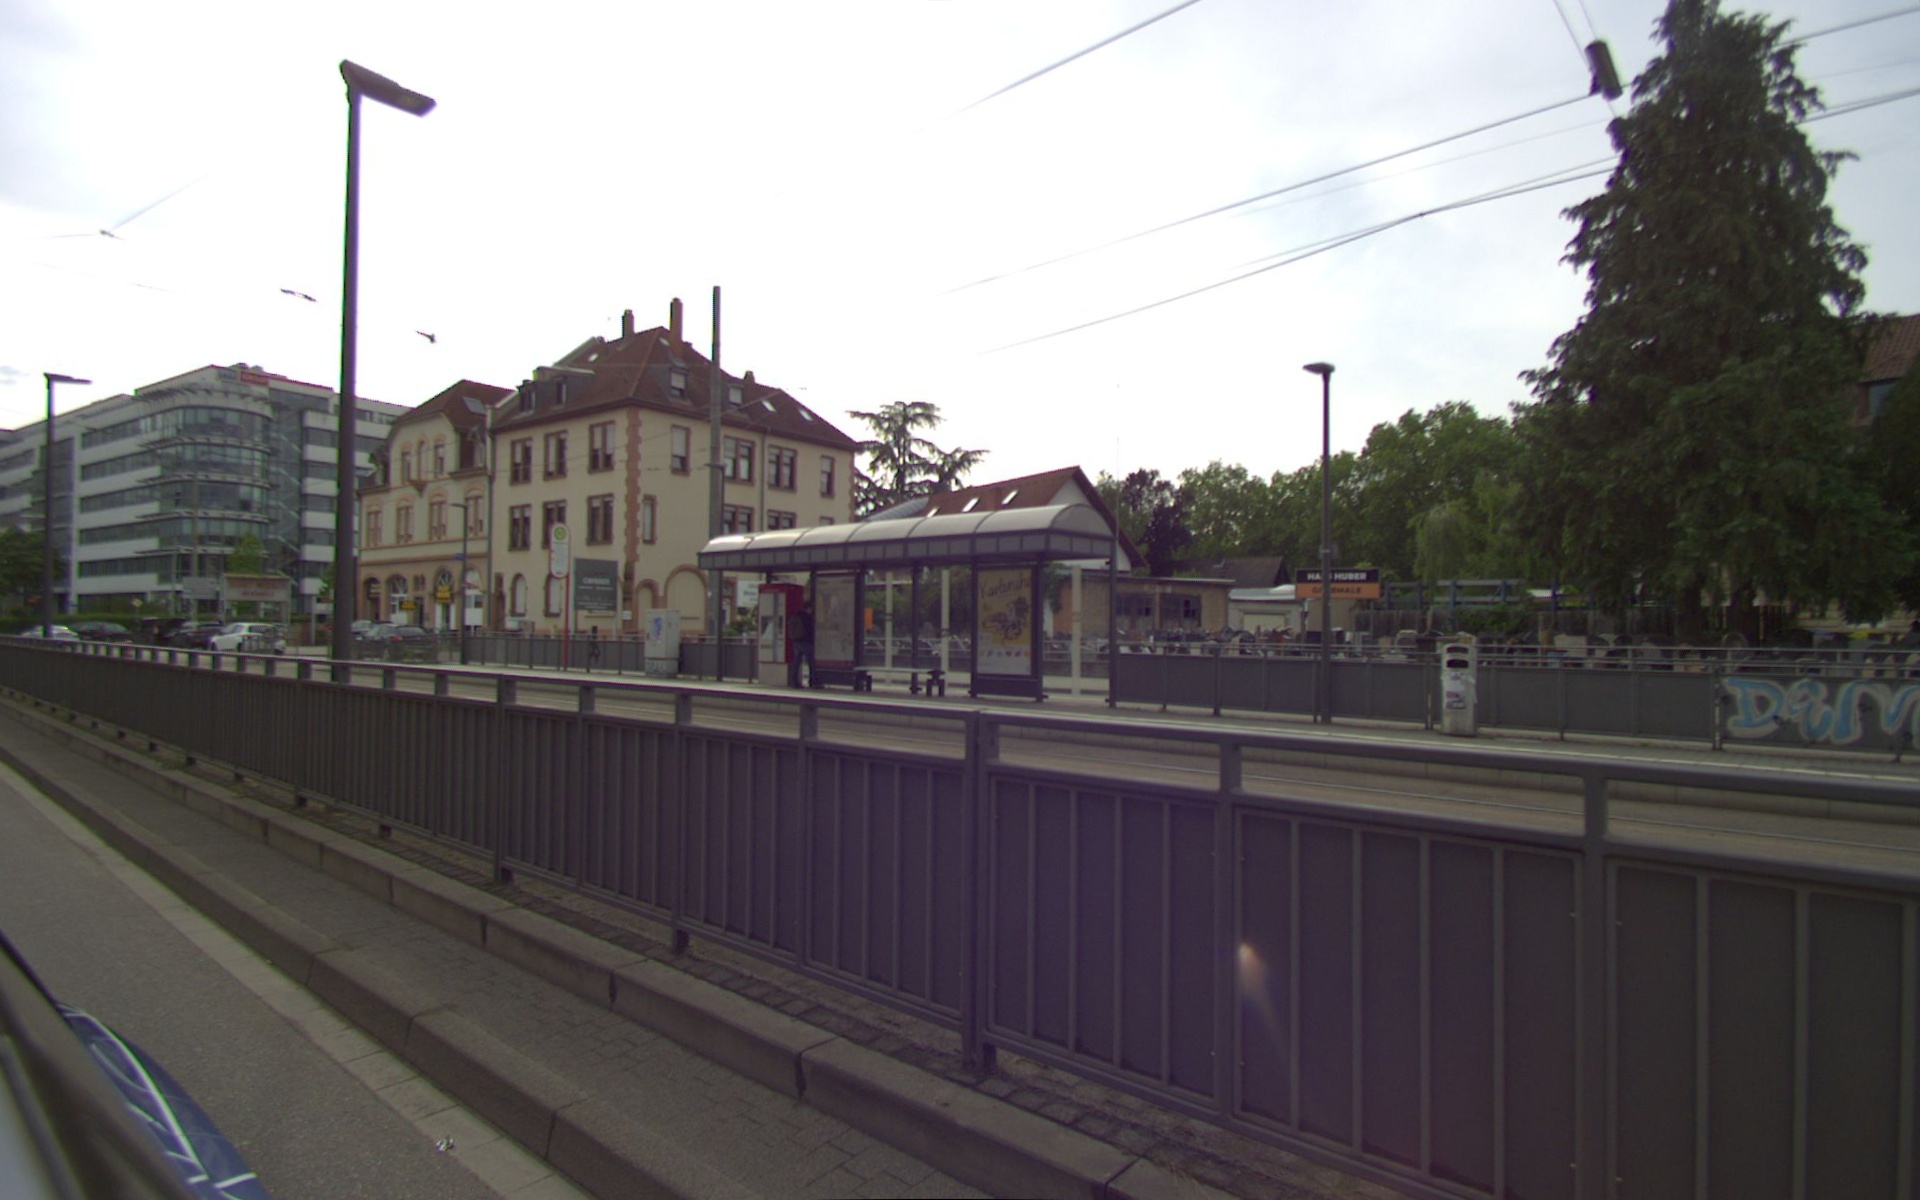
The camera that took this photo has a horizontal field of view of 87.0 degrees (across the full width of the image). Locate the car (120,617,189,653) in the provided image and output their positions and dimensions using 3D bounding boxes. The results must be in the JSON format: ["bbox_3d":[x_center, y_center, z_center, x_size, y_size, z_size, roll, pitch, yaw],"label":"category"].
[{"bbox_3d":[-49.515,2.107,62.153,5.173,2.029,1.969,0,0,36],"label":"car"}]

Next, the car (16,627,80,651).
[{"bbox_3d":[-52.033,2.205,57.716,3.820,1.308,1.737,0,-2,32],"label":"car"}]

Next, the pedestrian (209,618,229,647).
[{"bbox_3d":[-47.419,2.063,64.758,1.058,1.839,0.796,-1,-1,38],"label":"pedestrian"}]

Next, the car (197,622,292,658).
[{"bbox_3d":[-31.804,1.777,44.962,3.983,1.497,1.851,0,-4,29],"label":"car"}]

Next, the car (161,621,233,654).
[{"bbox_3d":[-44.612,2.182,59.163,4.523,1.762,2.020,-2,0,34],"label":"car"}]

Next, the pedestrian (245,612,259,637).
[{"bbox_3d":[-49.960,1.712,71.416,0.761,1.787,0.628,-1,-1,40],"label":"pedestrian"}]

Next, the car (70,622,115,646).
[{"bbox_3d":[-58.809,2.317,68.676,1.766,1.542,4.152,4,-4,-34],"label":"car"}]

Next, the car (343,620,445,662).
[{"bbox_3d":[-21.004,1.487,37.523,3.991,1.462,1.748,0,-3,35],"label":"car"}]

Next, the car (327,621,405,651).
[{"bbox_3d":[-33.003,1.979,56.218,4.893,1.504,1.976,-1,1,36],"label":"car"}]

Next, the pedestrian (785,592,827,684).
[{"bbox_3d":[-2.885,0.703,18.961,0.610,1.677,0.695,0,-1,8],"label":"pedestrian"}]

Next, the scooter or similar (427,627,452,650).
[{"bbox_3d":[-25.700,1.882,49.990,0.521,1.110,1.175,0,-1,7],"label":"scooter or similar"}]
